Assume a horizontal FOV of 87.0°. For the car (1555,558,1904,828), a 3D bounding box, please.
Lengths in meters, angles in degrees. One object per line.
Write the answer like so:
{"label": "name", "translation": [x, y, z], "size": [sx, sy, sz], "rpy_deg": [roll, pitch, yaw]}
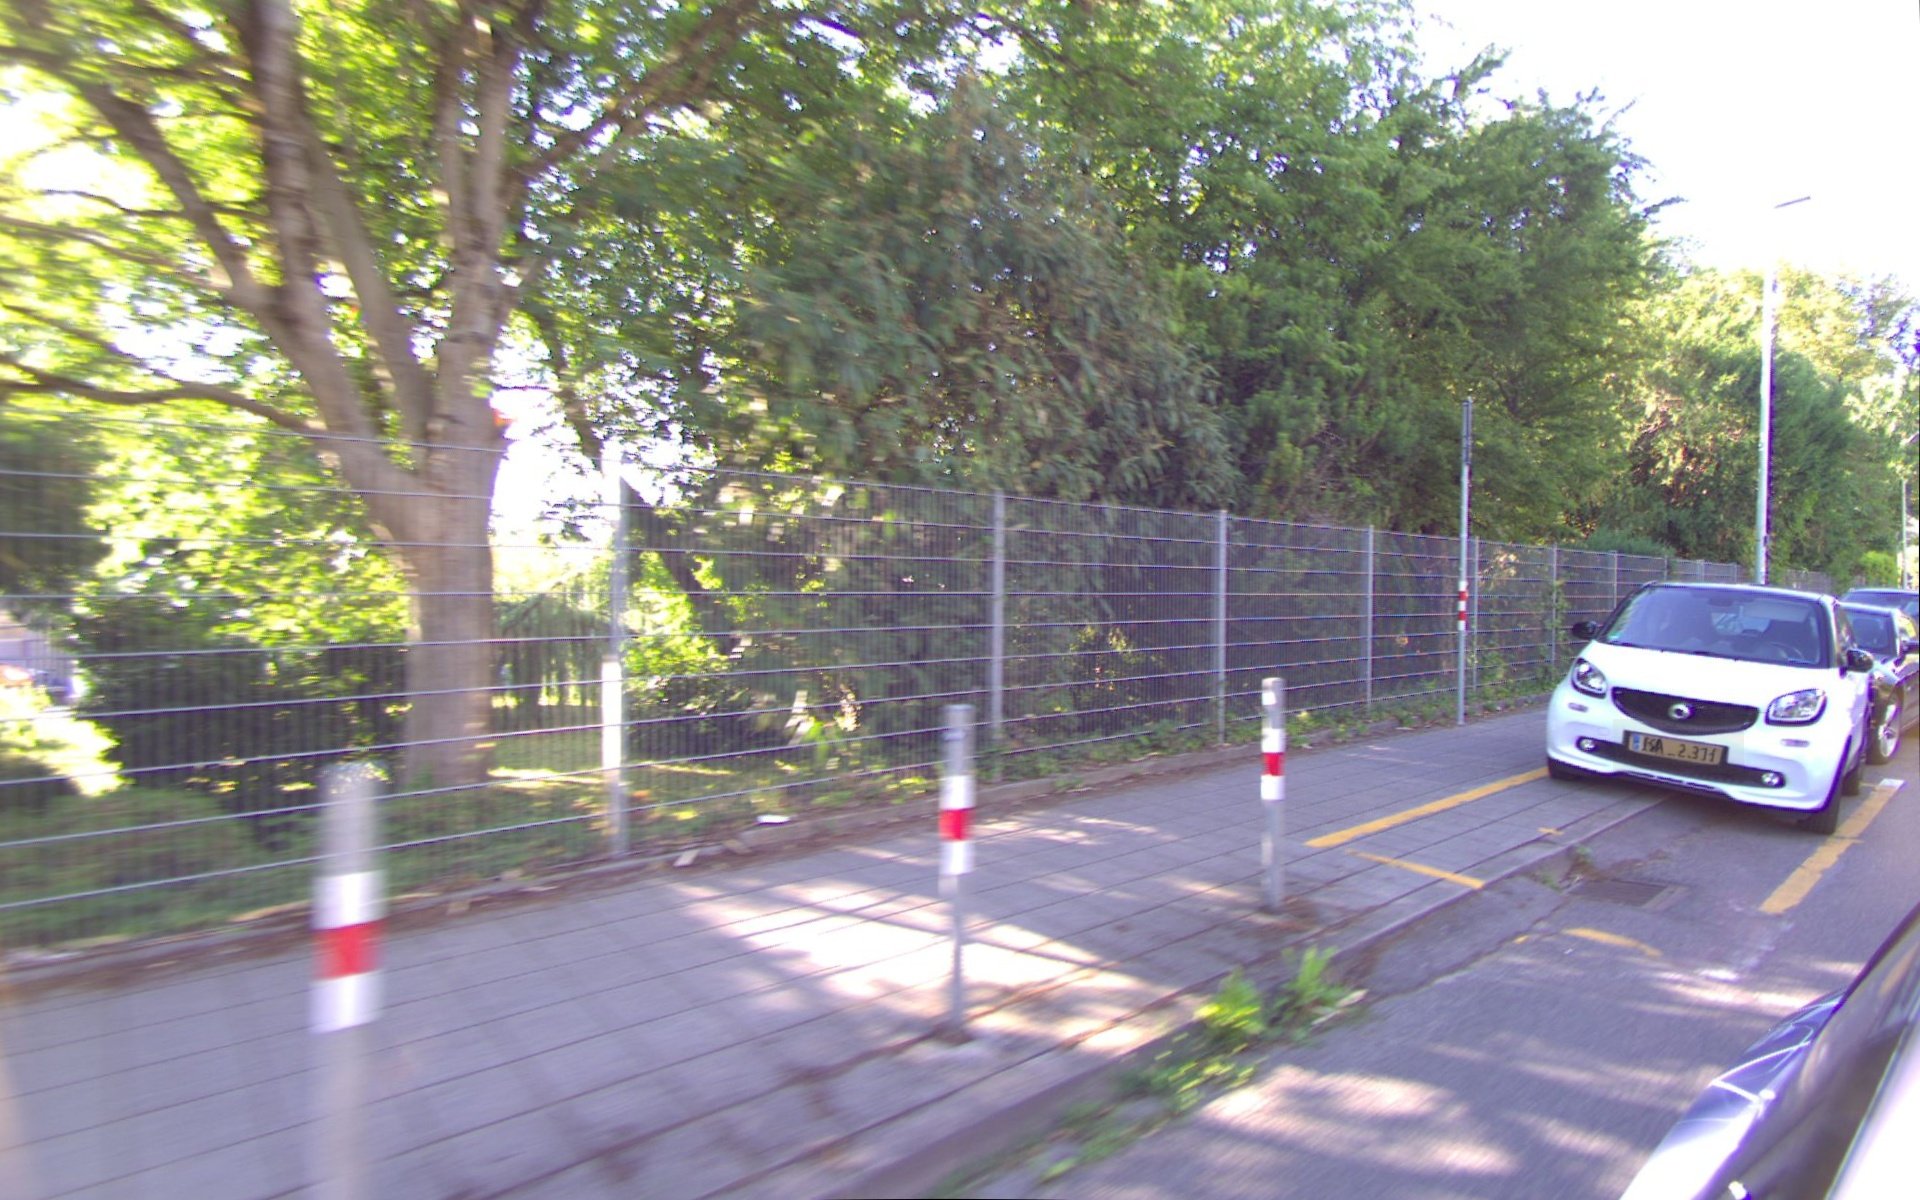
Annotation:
{"label": "car", "translation": [5.776, 0.525, 7.509], "size": [2.856, 1.528, 1.626], "rpy_deg": [0, 3, -45]}

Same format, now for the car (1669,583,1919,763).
{"label": "car", "translation": [9.306, 0.604, 10.711], "size": [4.727, 1.517, 1.714], "rpy_deg": [-1, 0, -39]}

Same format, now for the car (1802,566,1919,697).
{"label": "car", "translation": [13.191, 0.395, 14.067], "size": [2.821, 1.582, 1.658], "rpy_deg": [-1, 6, -39]}

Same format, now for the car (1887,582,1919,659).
{"label": "car", "translation": [20.116, 0.391, 20.317], "size": [3.931, 1.458, 1.797], "rpy_deg": [0, 2, -42]}
